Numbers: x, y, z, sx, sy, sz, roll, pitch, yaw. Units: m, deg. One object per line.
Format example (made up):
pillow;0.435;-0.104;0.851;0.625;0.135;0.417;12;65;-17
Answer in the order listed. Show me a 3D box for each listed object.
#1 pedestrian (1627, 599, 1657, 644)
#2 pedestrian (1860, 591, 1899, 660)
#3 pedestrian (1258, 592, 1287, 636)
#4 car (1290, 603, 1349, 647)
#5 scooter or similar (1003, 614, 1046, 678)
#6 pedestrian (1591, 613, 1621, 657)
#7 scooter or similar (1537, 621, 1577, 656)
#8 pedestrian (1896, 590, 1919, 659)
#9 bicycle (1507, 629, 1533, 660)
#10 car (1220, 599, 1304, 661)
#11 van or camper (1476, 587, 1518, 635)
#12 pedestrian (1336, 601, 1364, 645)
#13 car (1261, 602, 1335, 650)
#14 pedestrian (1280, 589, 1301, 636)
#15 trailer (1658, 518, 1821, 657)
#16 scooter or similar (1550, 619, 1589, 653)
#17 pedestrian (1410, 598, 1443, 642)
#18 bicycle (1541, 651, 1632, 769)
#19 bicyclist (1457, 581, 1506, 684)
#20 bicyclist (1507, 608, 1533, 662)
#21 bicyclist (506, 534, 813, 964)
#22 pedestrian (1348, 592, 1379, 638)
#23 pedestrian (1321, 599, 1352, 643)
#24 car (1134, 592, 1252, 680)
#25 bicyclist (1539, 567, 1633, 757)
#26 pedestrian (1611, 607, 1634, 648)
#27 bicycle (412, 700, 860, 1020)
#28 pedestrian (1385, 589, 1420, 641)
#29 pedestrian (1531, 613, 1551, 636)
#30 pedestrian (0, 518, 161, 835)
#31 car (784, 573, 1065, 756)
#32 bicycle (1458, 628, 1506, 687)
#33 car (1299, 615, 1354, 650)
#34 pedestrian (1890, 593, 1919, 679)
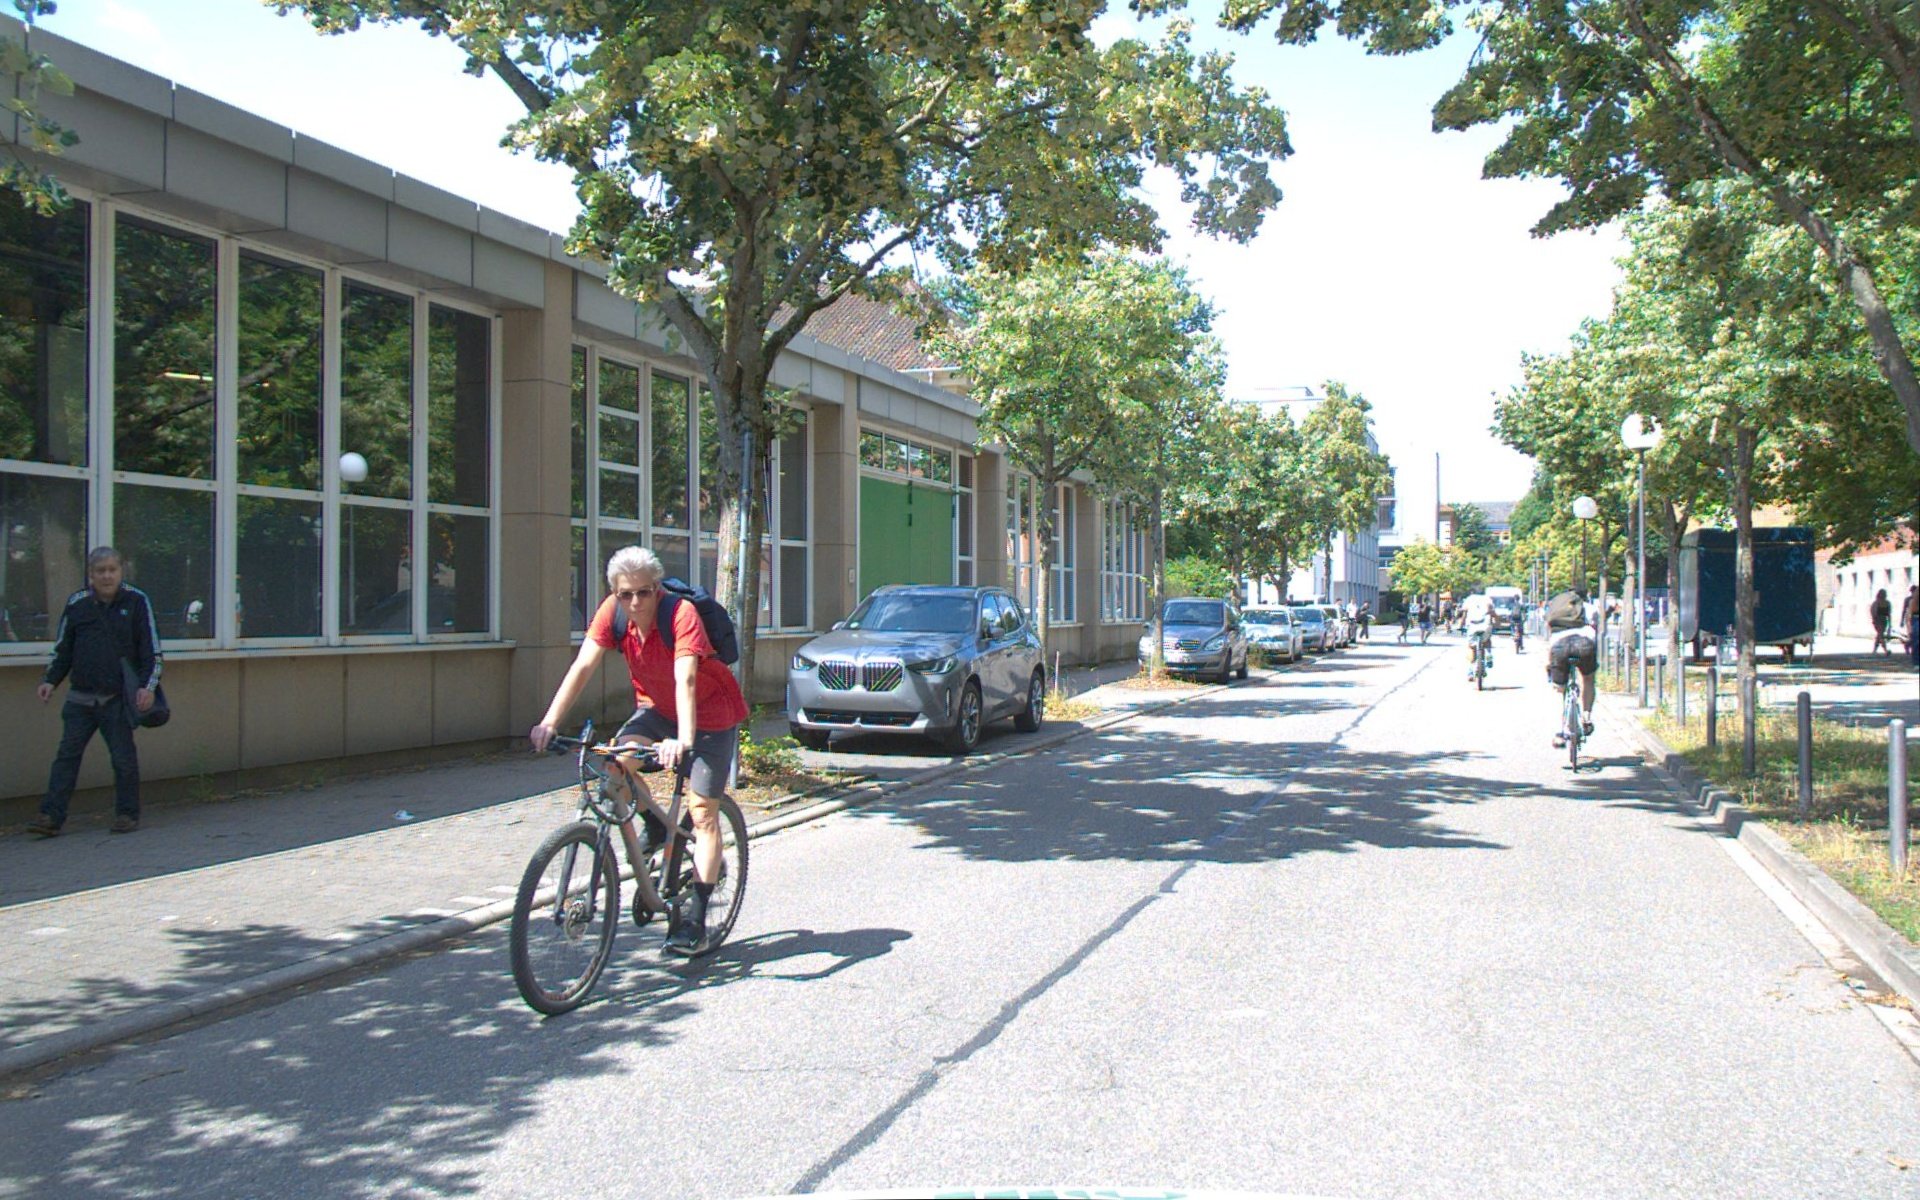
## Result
pedestrian;28.856;0.906;69.975;0.697;1.817;0.749;-7;0;-18
pedestrian;22.667;0.636;40.772;0.682;1.690;0.788;-1;-1;18
pedestrian;13.449;0.587;71.227;0.791;1.802;0.848;6;4;44
car;12.532;0.847;57.564;1.627;1.436;3.809;2;0;18
scooter or similar;1.248;0.880;31.903;0.495;1.189;1.216;2;0;18
pedestrian;26.518;1.423;67.902;0.941;1.723;0.704;5;3;28
scooter or similar;22.118;1.409;61.257;0.644;1.287;1.246;1;-1;-39
pedestrian;23.432;0.600;40.448;0.749;1.690;0.824;-1;-1;18
bicycle;18.748;1.489;55.337;0.791;1.020;2.124;1;-1;19
car;8.012;0.787;43.628;1.689;1.482;4.586;2;0;16
van or camper;28.853;0.632;88.777;1.952;2.489;4.569;-1;-2;21
pedestrian;16.176;0.949;68.623;0.670;1.769;0.898;1;0;-34
car;10.587;0.806;51.627;1.689;1.367;4.166;2;0;19
pedestrian;14.402;0.553;72.042;0.605;2.015;0.826;0;-2;-13
trailer;18.959;-0.244;40.581;2.635;3.105;6.260;-1;-1;17
scooter or similar;23.058;1.364;62.610;0.633;1.287;1.246;1;-1;-39
pedestrian;17.494;0.761;62.042;0.836;1.623;0.824;-1;-1;-25
bicycle;5.905;1.006;15.666;0.692;1.010;1.911;0;-1;17
bicyclist;9.388;0.580;29.757;0.755;1.787;0.849;2;0;18
bicyclist;18.755;1.178;55.367;0.791;1.787;0.692;1;-1;19
bicyclist;-1.185;0.558;6.658;0.818;1.570;0.959;-1;-1;23
pedestrian;16.018;0.614;65.659;0.973;1.750;0.701;-2;-7;34
pedestrian;15.530;0.879;68.206;0.693;1.769;0.971;3;-1;-36
car;4.705;0.693;32.904;1.720;1.583;4.116;2;0;16
bicyclist;5.894;0.566;15.622;0.702;1.691;1.095;2;0;17
pedestrian;27.914;1.158;69.701;0.494;1.658;0.568;-7;0;-18
bicycle;-1.202;0.956;6.665;0.799;1.060;1.930;0;-4;23
pedestrian;17.274;0.586;64.592;0.839;1.891;1.110;-3;6;-20
pedestrian;52.829;2.211;150.425;1.468;2.031;1.647;-3;-1;16
pedestrian;-5.387;0.431;10.003;0.658;1.818;0.786;2;1;42
car;-0.222;0.635;18.029;1.783;1.661;4.520;2;0;15
bicycle;9.419;1.025;29.866;0.791;1.020;2.124;-1;-1;17
car;14.108;1.226;63.575;1.611;1.323;3.929;0;-1;19
pedestrian;18.061;0.684;31.336;0.556;1.599;0.927;-1;-2;18
